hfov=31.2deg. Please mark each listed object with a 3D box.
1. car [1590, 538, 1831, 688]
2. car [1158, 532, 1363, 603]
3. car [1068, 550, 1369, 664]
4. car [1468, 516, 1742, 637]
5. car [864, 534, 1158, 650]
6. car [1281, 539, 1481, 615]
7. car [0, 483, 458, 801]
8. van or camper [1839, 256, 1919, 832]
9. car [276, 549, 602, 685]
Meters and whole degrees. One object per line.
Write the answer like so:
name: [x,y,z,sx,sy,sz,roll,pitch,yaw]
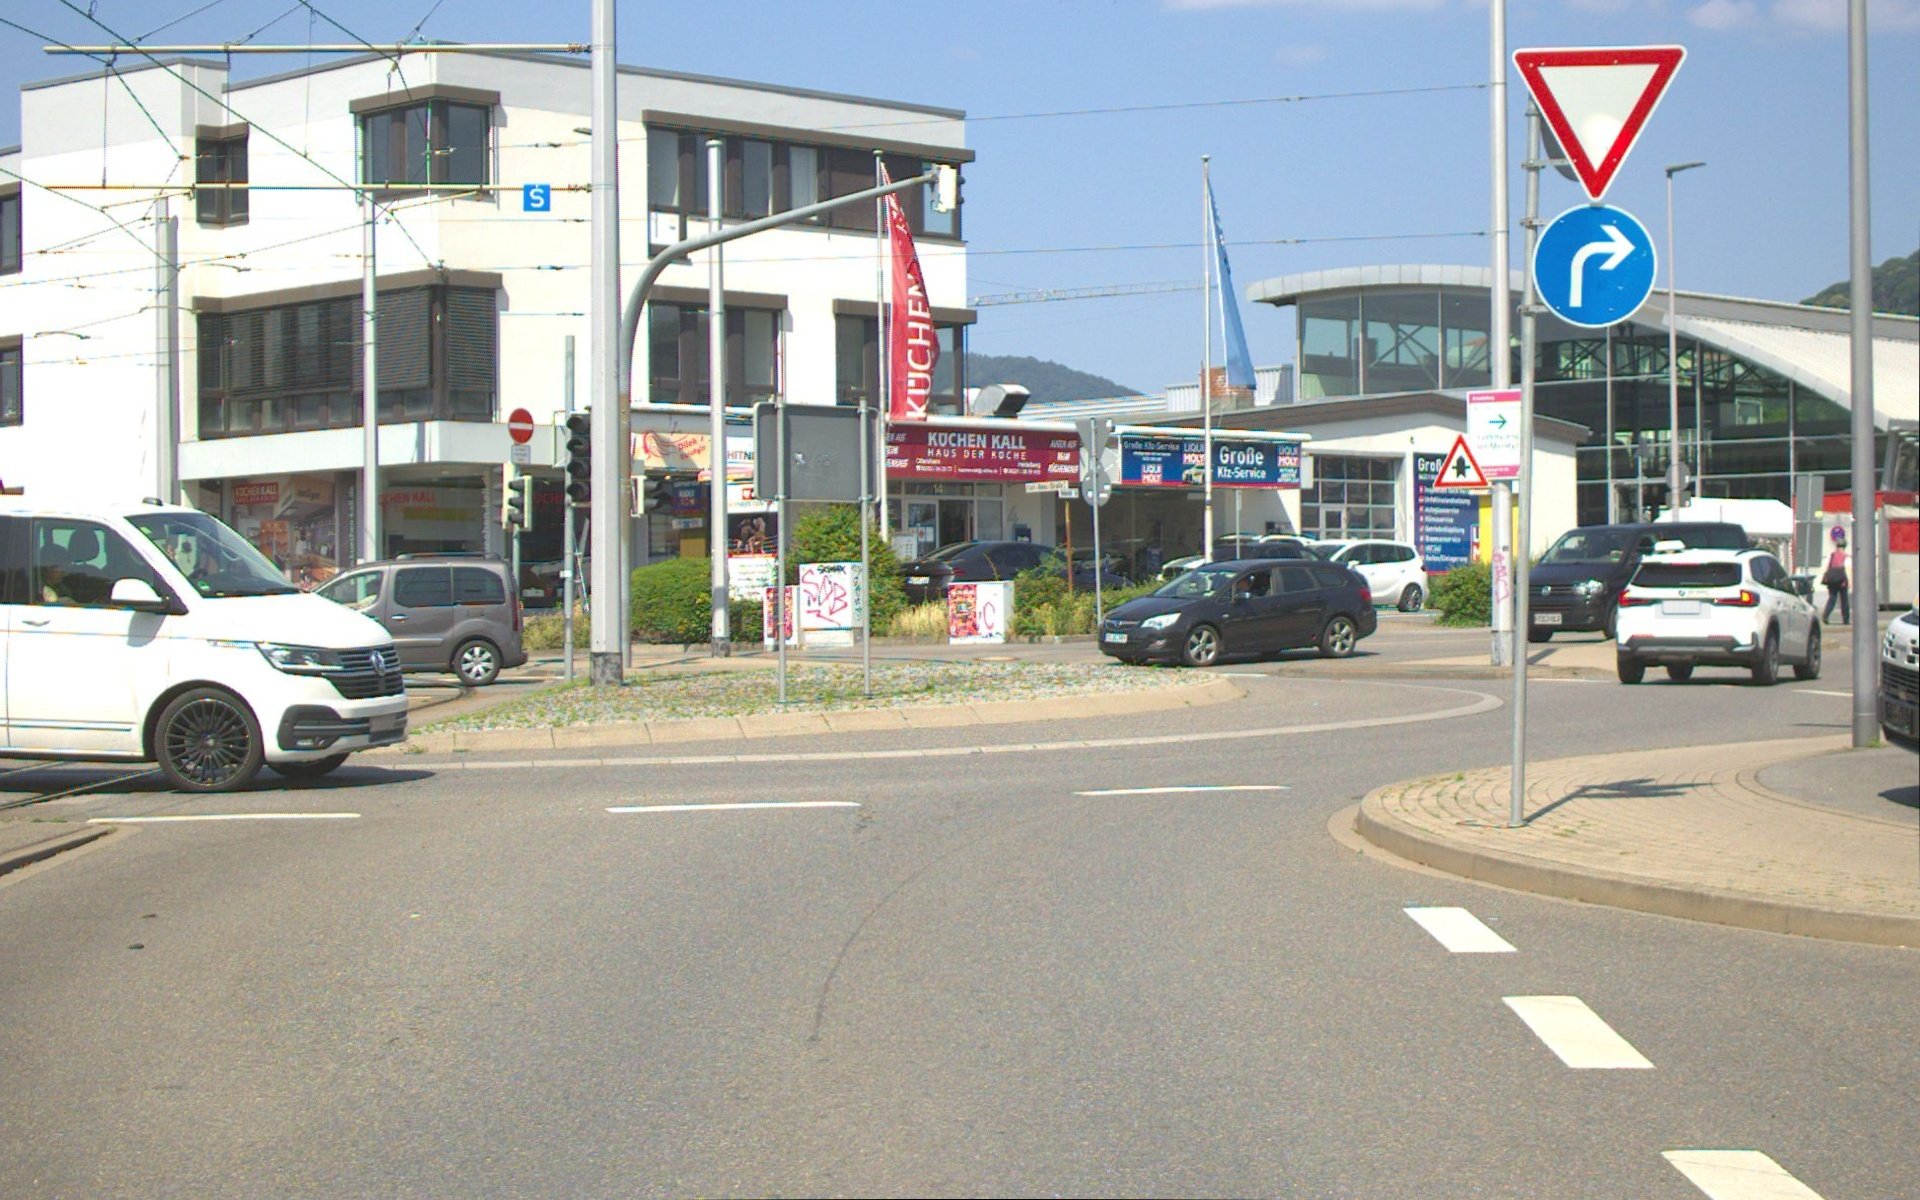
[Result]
car: [9.234,0.128,42.039,1.996,1.727,4.558,-1,0,24]
car: [6.264,-0.684,71.364,2.031,1.422,4.306,0,1,42]
car: [3.875,0.087,51.232,4.230,1.550,1.969,-2,1,-38]
car: [10.716,-0.424,56.976,4.626,1.904,2.097,-2,2,-42]
car: [0.943,-0.172,60.584,5.266,1.959,1.965,-1,1,-43]
car: [9.470,-0.527,77.098,1.885,1.583,4.916,-3,-1,43]
car: [-6.169,0.266,23.341,5.004,2.007,2.168,0,0,13]
van or camper: [7.534,-0.335,17.032,5.811,2.764,2.091,-1,1,2]
car: [-7.243,0.221,47.987,4.394,1.812,1.990,0,0,-8]
